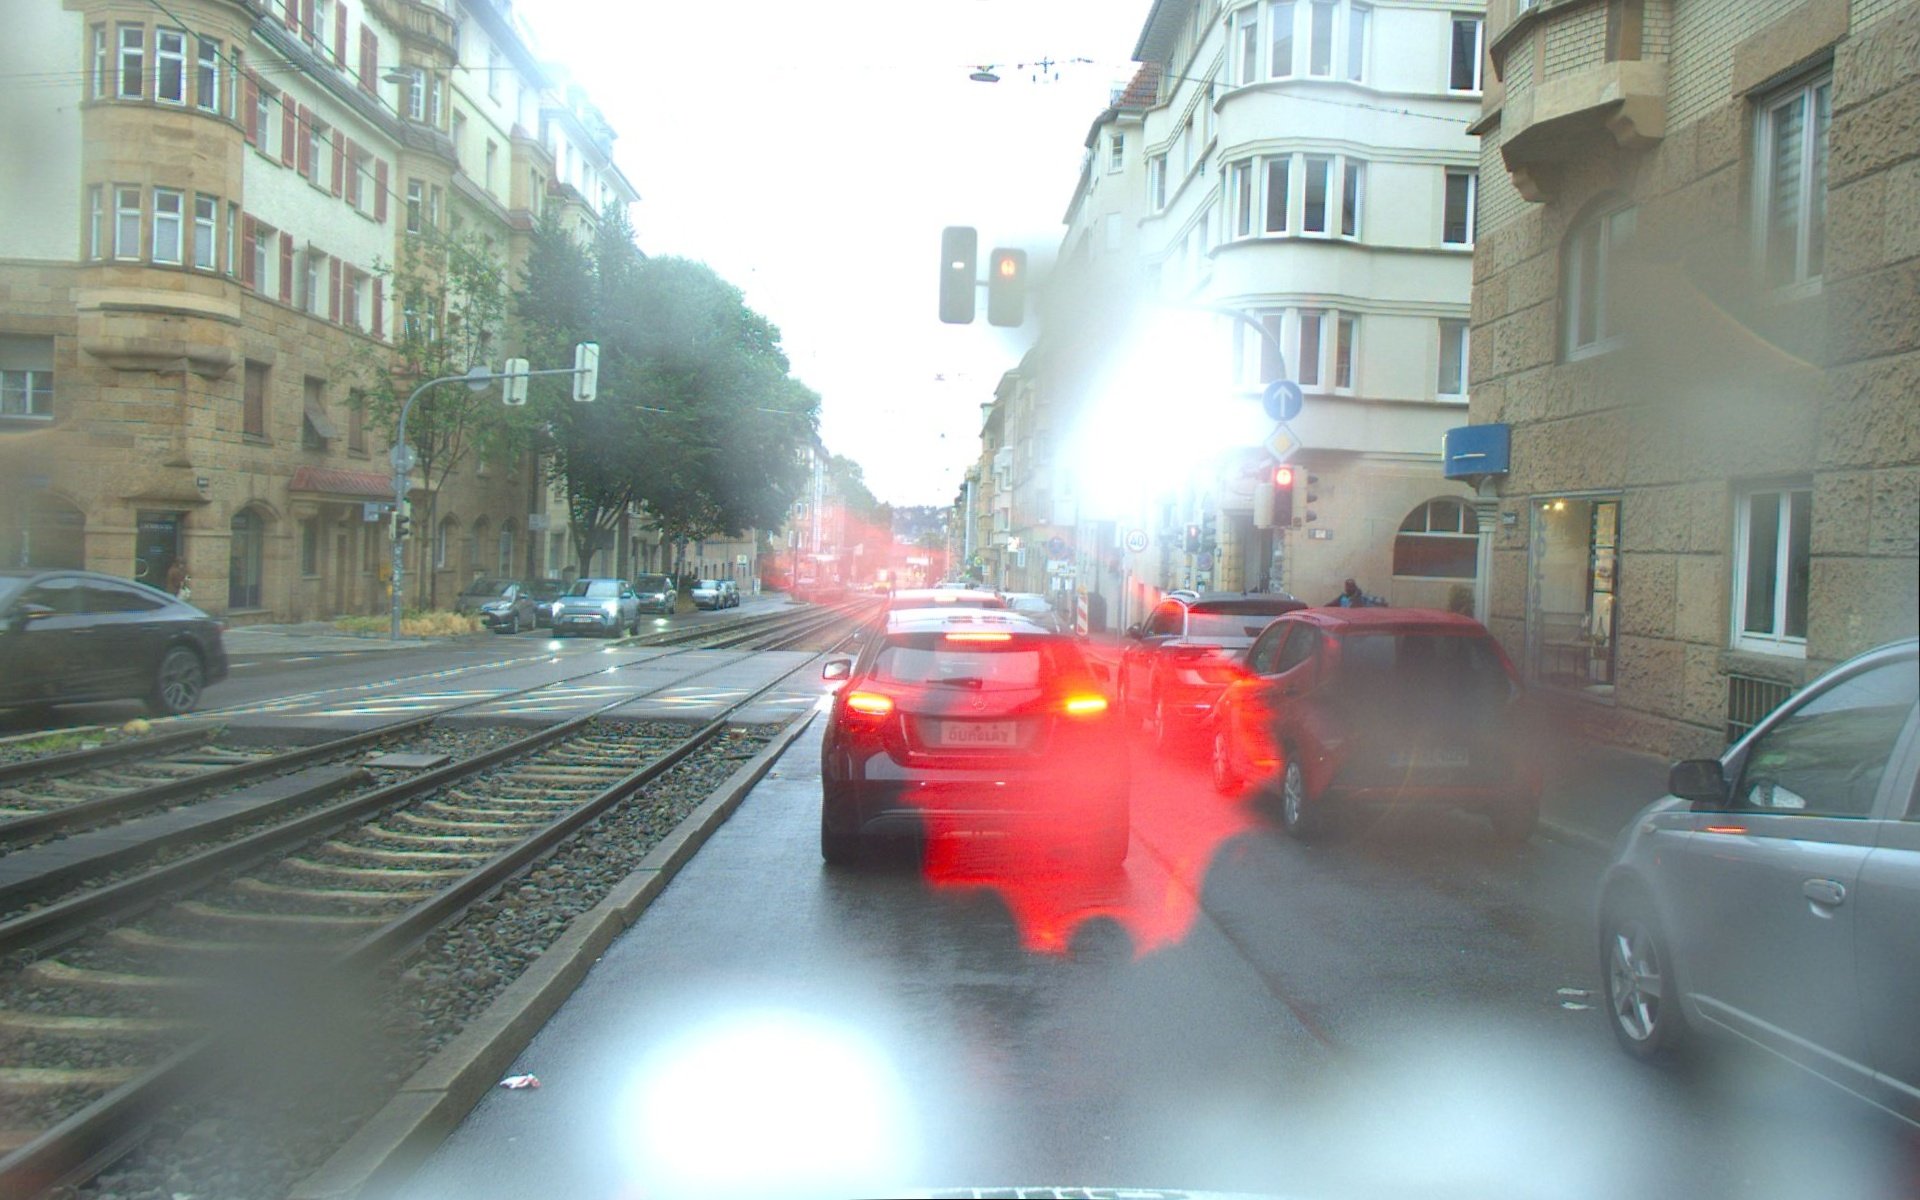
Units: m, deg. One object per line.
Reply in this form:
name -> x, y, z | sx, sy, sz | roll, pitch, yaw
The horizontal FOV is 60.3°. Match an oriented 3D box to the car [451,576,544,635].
car -> -13.015, 0.155, 46.771 | 1.718, 1.579, 4.032 | 1, 0, -4

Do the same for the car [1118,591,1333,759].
car -> 2.617, 0.680, 17.065 | 1.513, 1.512, 3.829 | 1, 0, -1

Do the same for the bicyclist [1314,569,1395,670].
bicyclist -> 6.571, 0.323, 27.609 | 1.223, 1.625, 0.888 | 1, -1, 9

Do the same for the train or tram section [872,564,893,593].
train or tram section -> -11.266, -3.118, 241.663 | 2.726, 3.928, 10.427 | 1, 0, -1

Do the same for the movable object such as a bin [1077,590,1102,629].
movable object such as a bin -> 4.765, 0.341, 60.912 | 0.859, 1.413, 0.983 | 1, -1, 3

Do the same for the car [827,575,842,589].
car -> -12.355, -1.795, 162.958 | 1.349, 1.271, 3.296 | 1, 0, -2

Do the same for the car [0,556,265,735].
car -> -8.919, 0.380, 15.578 | 1.765, 1.550, 4.968 | 1, 0, 13

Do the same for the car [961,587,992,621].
car -> 0.730, 0.181, 74.877 | 1.268, 1.468, 2.928 | 1, 0, -1

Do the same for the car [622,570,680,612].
car -> -13.556, -0.364, 72.781 | 1.837, 1.767, 3.917 | 1, 0, -1

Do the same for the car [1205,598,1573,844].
car -> 2.891, 0.748, 11.830 | 1.609, 1.473, 3.297 | 1, 0, -3

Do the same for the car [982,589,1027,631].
car -> 1.666, 0.366, 62.819 | 1.513, 1.512, 3.547 | 1, 0, -1

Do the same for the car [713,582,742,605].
car -> -14.009, -0.369, 99.647 | 1.419, 1.354, 3.270 | 1, 0, -3

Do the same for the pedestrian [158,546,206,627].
pedestrian -> -16.579, -0.281, 35.239 | 0.621, 1.702, 0.699 | 0, -1, 38

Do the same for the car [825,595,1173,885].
car -> 0.175, 0.731, 10.722 | 1.792, 1.483, 4.103 | 1, 0, -1

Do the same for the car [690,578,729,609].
car -> -13.645, -0.321, 90.242 | 1.557, 1.608, 3.917 | 1, 0, -1

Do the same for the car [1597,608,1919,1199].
car -> 3.106, 0.781, 4.370 | 1.581, 1.493, 3.312 | 0, 0, 0

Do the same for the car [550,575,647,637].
car -> -10.051, 0.171, 46.201 | 1.860, 1.615, 3.972 | 1, 0, -1

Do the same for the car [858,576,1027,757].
car -> -0.189, 0.621, 17.105 | 1.533, 1.637, 3.813 | 1, 0, -1

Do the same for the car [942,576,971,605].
car -> -0.259, -0.660, 113.558 | 1.953, 1.909, 3.999 | 1, 0, -1

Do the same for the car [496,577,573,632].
car -> -13.278, 0.140, 51.798 | 1.683, 1.639, 3.914 | 1, 0, -5

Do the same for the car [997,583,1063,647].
car -> 1.834, 0.375, 43.936 | 1.513, 1.618, 3.547 | 1, 0, -1

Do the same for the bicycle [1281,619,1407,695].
bicycle -> 6.389, 0.936, 27.623 | 1.987, 1.207, 0.827 | 1, -1, 10

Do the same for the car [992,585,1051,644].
car -> 1.766, 0.405, 48.410 | 1.513, 1.618, 3.547 | 1, 0, -1
